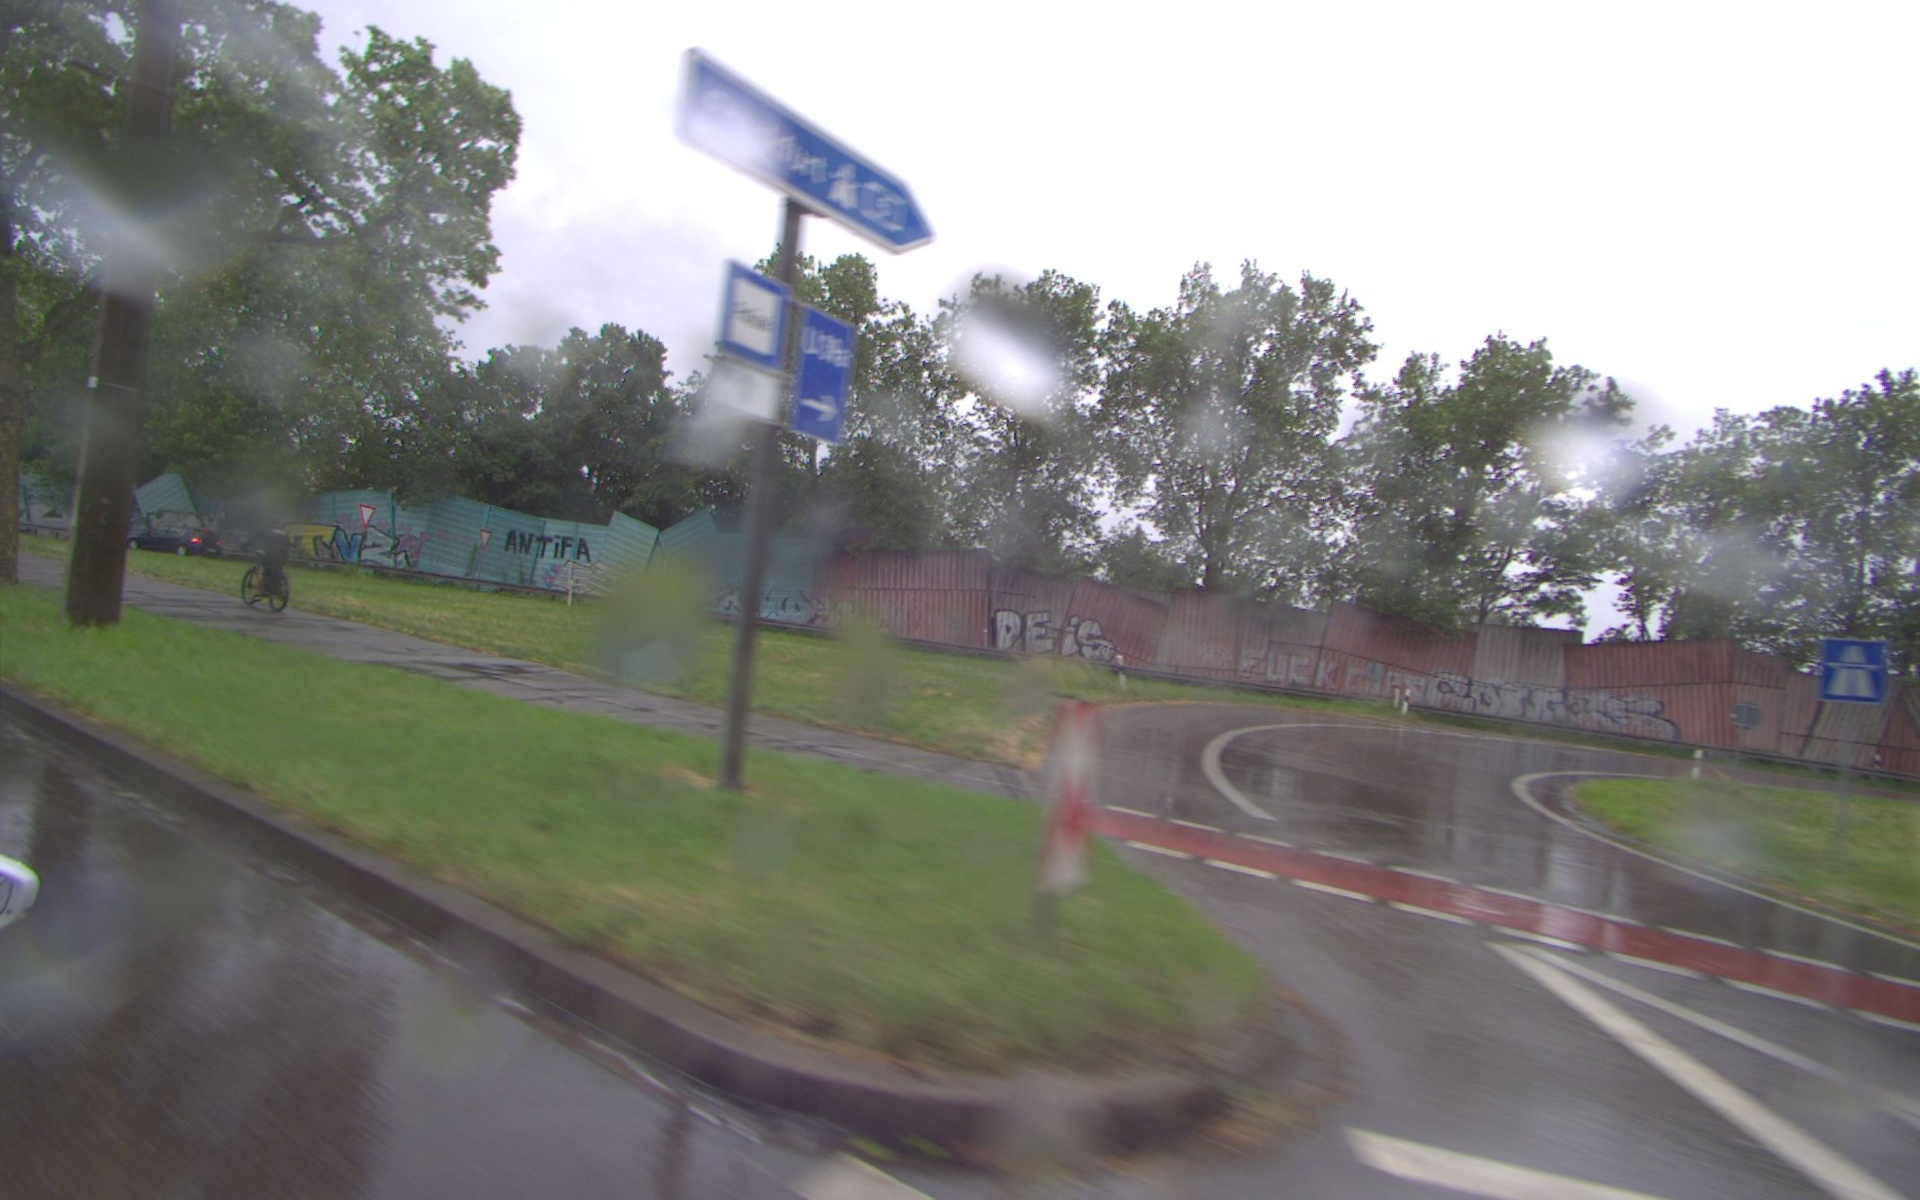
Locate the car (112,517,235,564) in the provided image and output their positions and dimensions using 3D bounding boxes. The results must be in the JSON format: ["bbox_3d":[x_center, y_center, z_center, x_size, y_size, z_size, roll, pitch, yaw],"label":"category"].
[{"bbox_3d":[-37.035,-2.798,47.419,4.431,1.555,1.870,7,-1,7],"label":"car"}]
